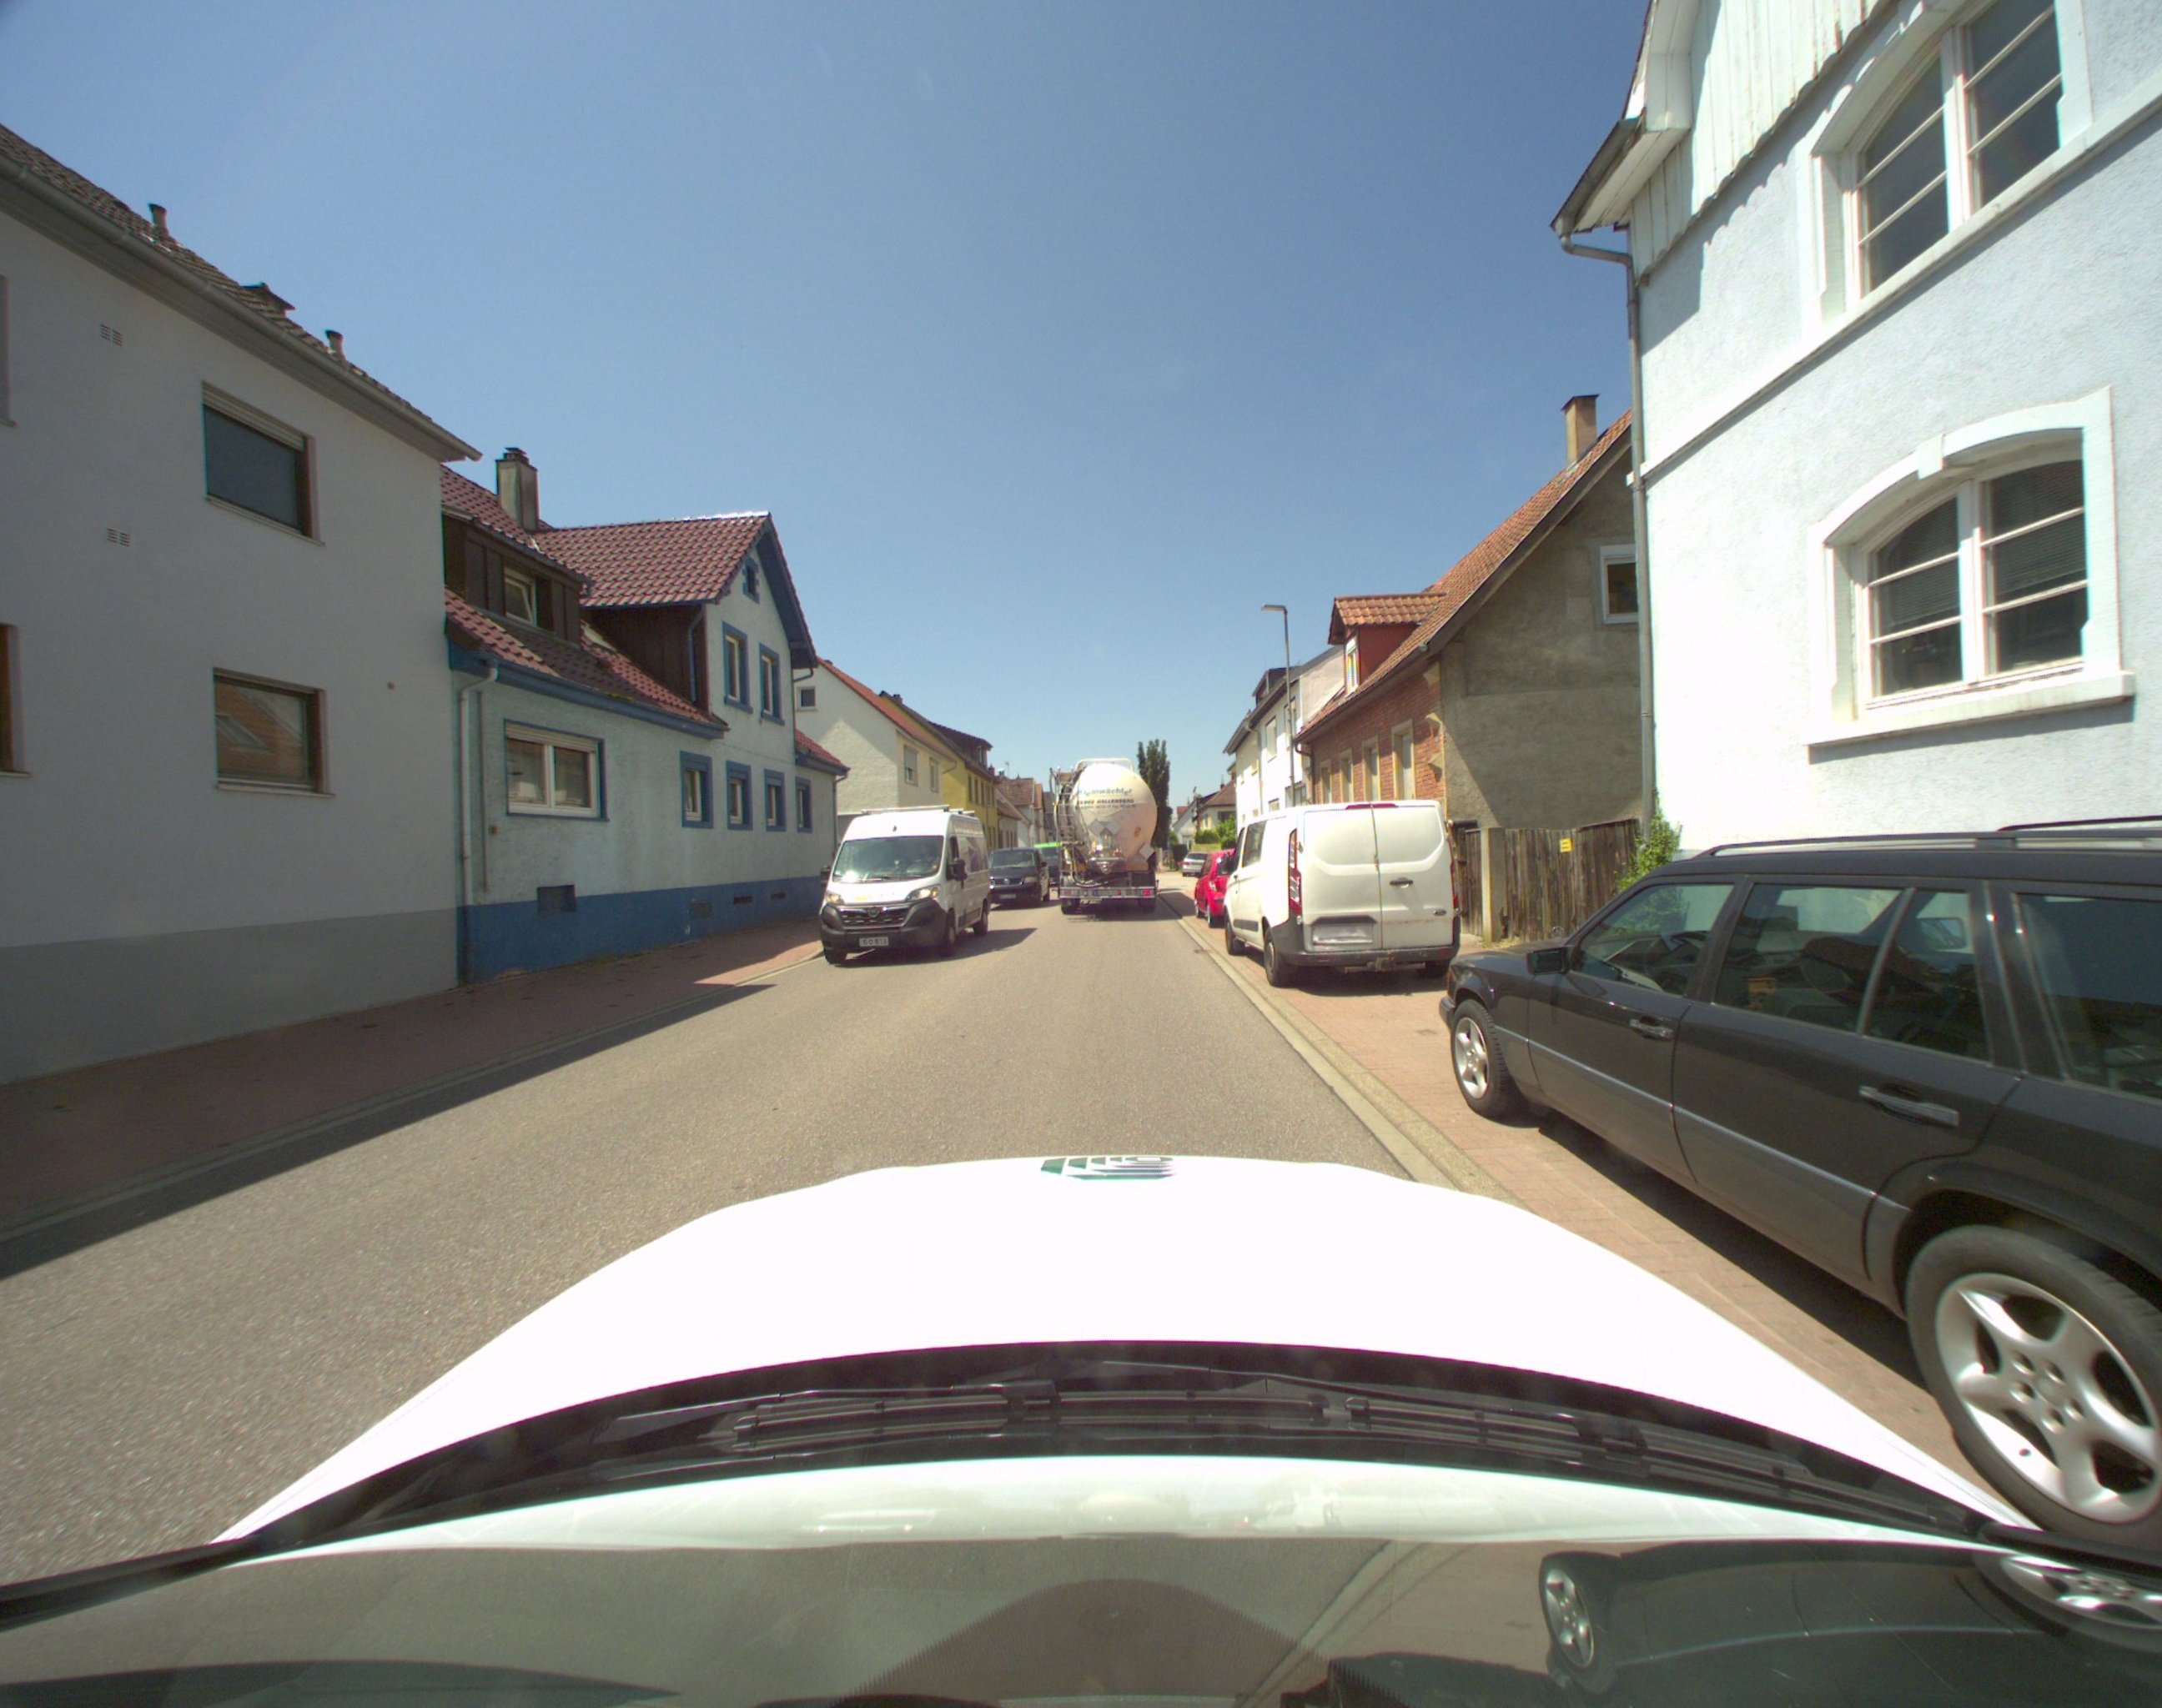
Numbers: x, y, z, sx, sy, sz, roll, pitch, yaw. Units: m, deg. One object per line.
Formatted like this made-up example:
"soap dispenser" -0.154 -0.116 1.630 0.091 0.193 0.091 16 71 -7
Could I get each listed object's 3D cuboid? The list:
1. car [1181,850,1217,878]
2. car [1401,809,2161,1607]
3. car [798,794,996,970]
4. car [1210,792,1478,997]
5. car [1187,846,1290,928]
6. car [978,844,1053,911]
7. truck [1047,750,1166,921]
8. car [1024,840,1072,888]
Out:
"car" 7.022 0.570 48.149 1.803 1.462 4.900 2 1 11
"car" 2.894 0.617 2.925 1.763 1.466 4.579 -3 0 2
"car" -3.071 0.419 15.045 2.117 2.542 5.464 -3 0 2
"car" 3.022 0.409 10.587 1.939 1.970 4.786 -3 0 1
"car" 3.319 0.647 17.741 1.604 1.528 3.679 -3 0 2
"car" -2.082 0.733 27.376 1.874 1.943 5.120 -3 0 2
"truck" 0.697 -0.400 23.070 2.722 3.960 8.144 -1 -1 1
"car" -1.695 0.513 44.366 2.043 2.353 6.084 -3 0 2
